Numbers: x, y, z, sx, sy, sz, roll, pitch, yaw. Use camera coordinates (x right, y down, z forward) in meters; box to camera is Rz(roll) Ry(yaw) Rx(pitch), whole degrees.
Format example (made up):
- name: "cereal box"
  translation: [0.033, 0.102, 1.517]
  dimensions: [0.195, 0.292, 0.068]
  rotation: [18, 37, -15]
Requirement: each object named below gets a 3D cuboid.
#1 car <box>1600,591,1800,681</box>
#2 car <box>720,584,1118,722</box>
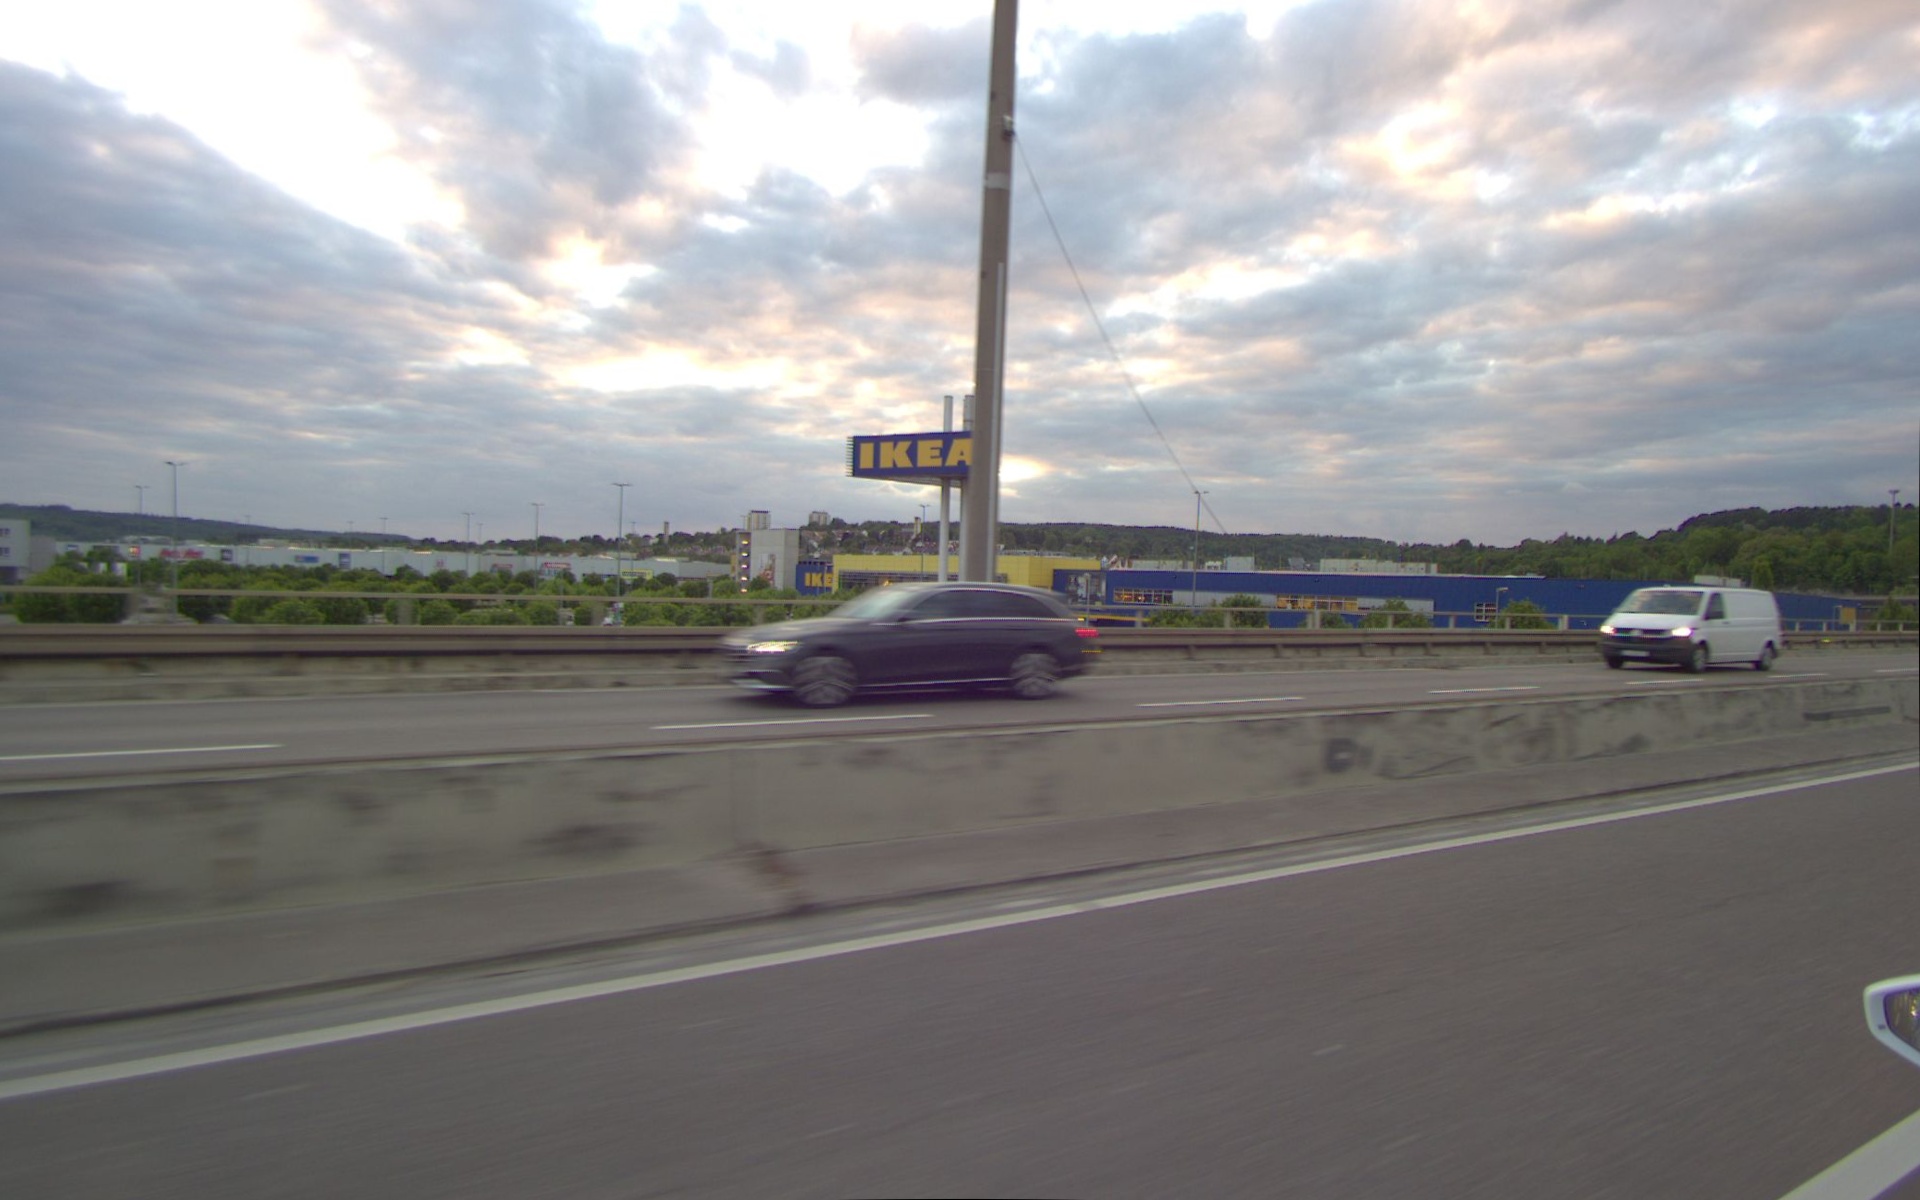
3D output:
- name: "car"
  translation: [17.484, 0.825, 23.644]
  dimensions: [5.397, 1.926, 1.891]
  rotation: [1, 0, -31]
- name: "car"
  translation: [-0.424, 0.580, 12.862]
  dimensions: [4.846, 1.494, 1.818]
  rotation: [1, 0, -32]
